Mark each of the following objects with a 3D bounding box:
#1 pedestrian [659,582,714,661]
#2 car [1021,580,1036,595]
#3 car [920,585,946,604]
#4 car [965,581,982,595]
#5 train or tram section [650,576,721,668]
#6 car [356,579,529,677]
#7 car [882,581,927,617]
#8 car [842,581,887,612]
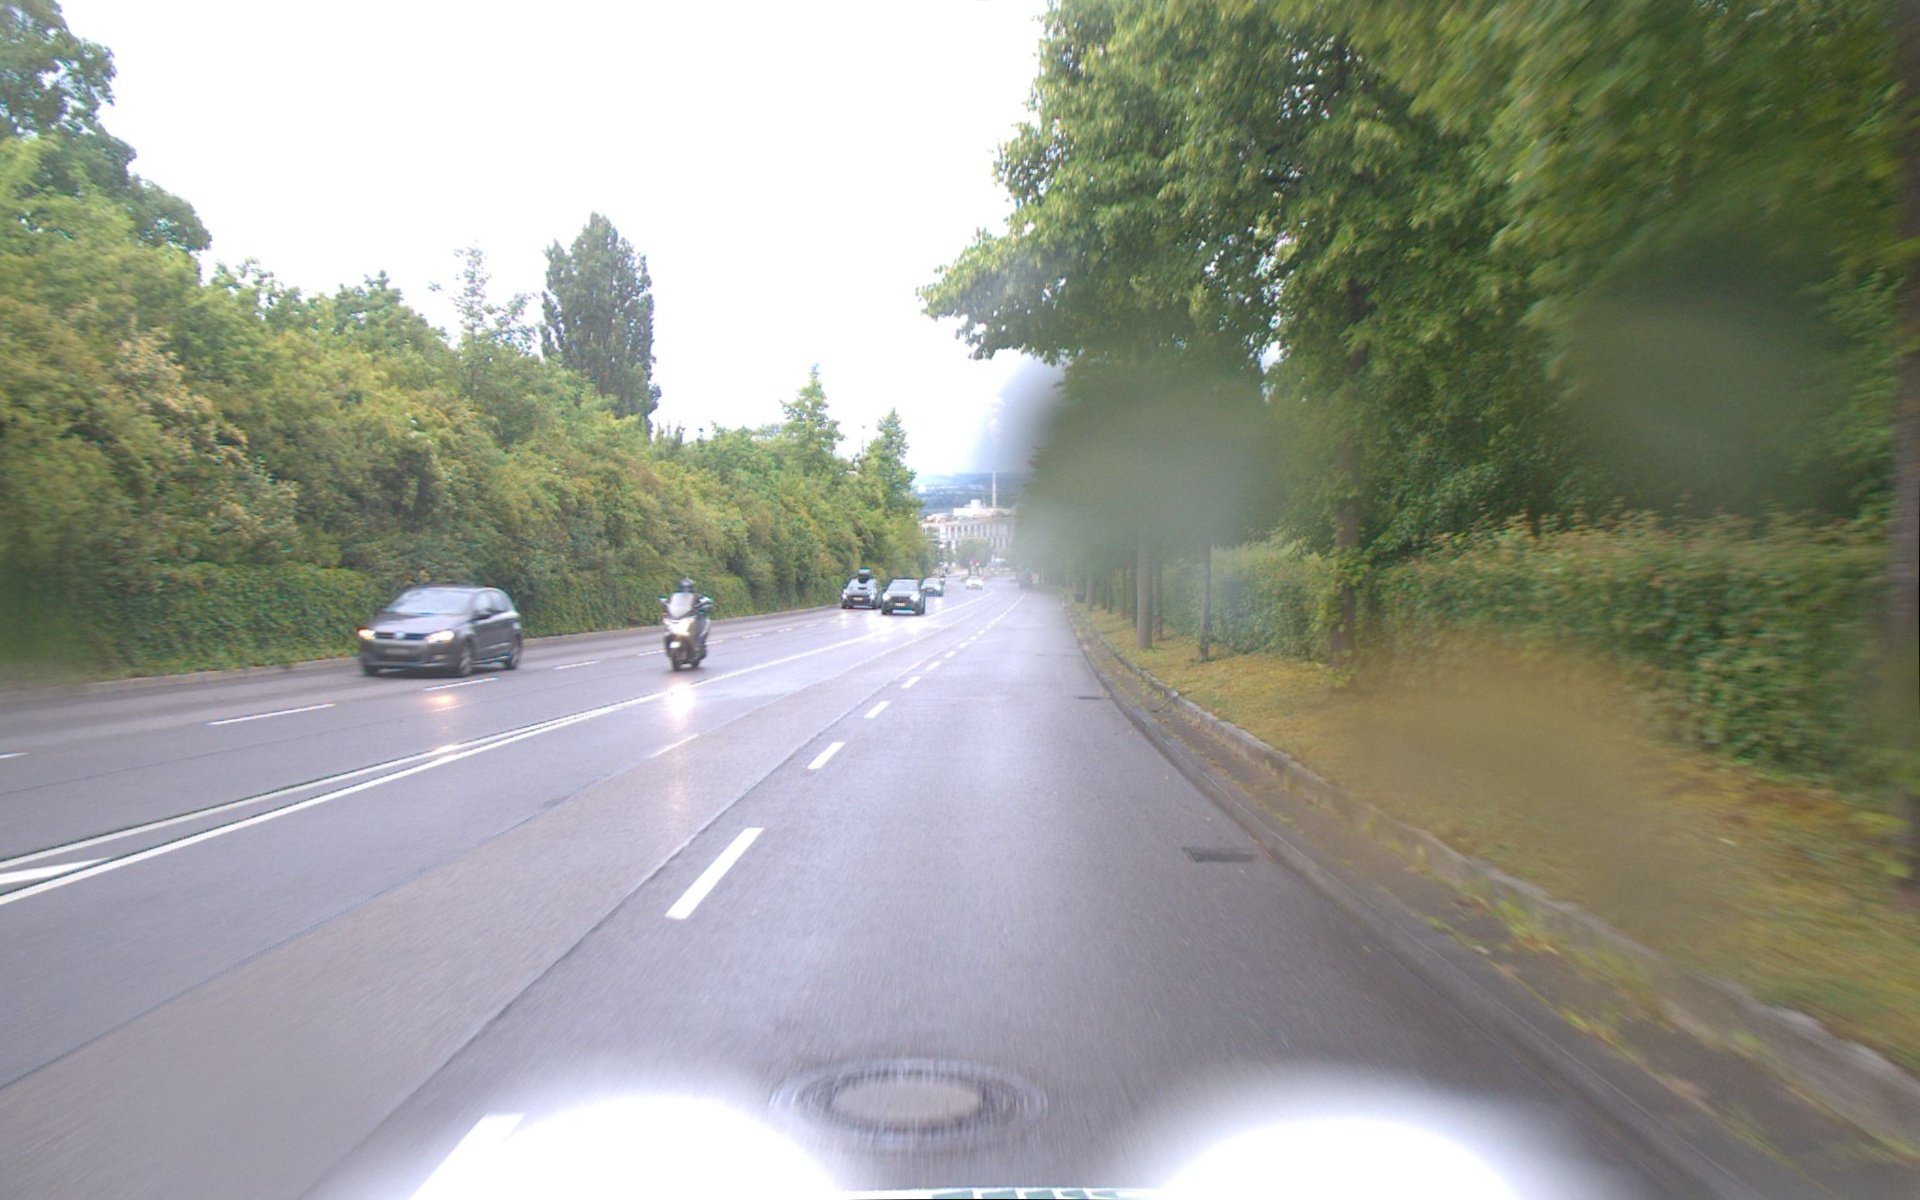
[{"bbox_3d":[-4.999,0.388,30.320,0.774,1.408,0.975,2,0,2],"label":"pedestrian"},{"bbox_3d":[8.537,-1.504,206.176,1.810,1.731,3.794,2,-1,3],"label":"car"},{"bbox_3d":[-2.199,-0.461,136.179,1.723,1.405,4.840,2,1,3],"label":"car"},{"bbox_3d":[1.600,-1.438,189.995,1.679,1.531,4.519,2,1,3],"label":"car"},{"bbox_3d":[-4.998,0.388,30.316,0.774,1.597,2.384,2,0,2],"label":"train or tram section"},{"bbox_3d":[-8.369,0.430,27.053,1.516,1.462,3.697,1,0,2],"label":"car"},{"bbox_3d":[-2.687,-0.070,81.067,1.774,1.686,4.597,1,0,3],"label":"car"},{"bbox_3d":[-5.165,-0.186,89.883,1.859,1.580,4.632,2,0,3],"label":"car"}]
